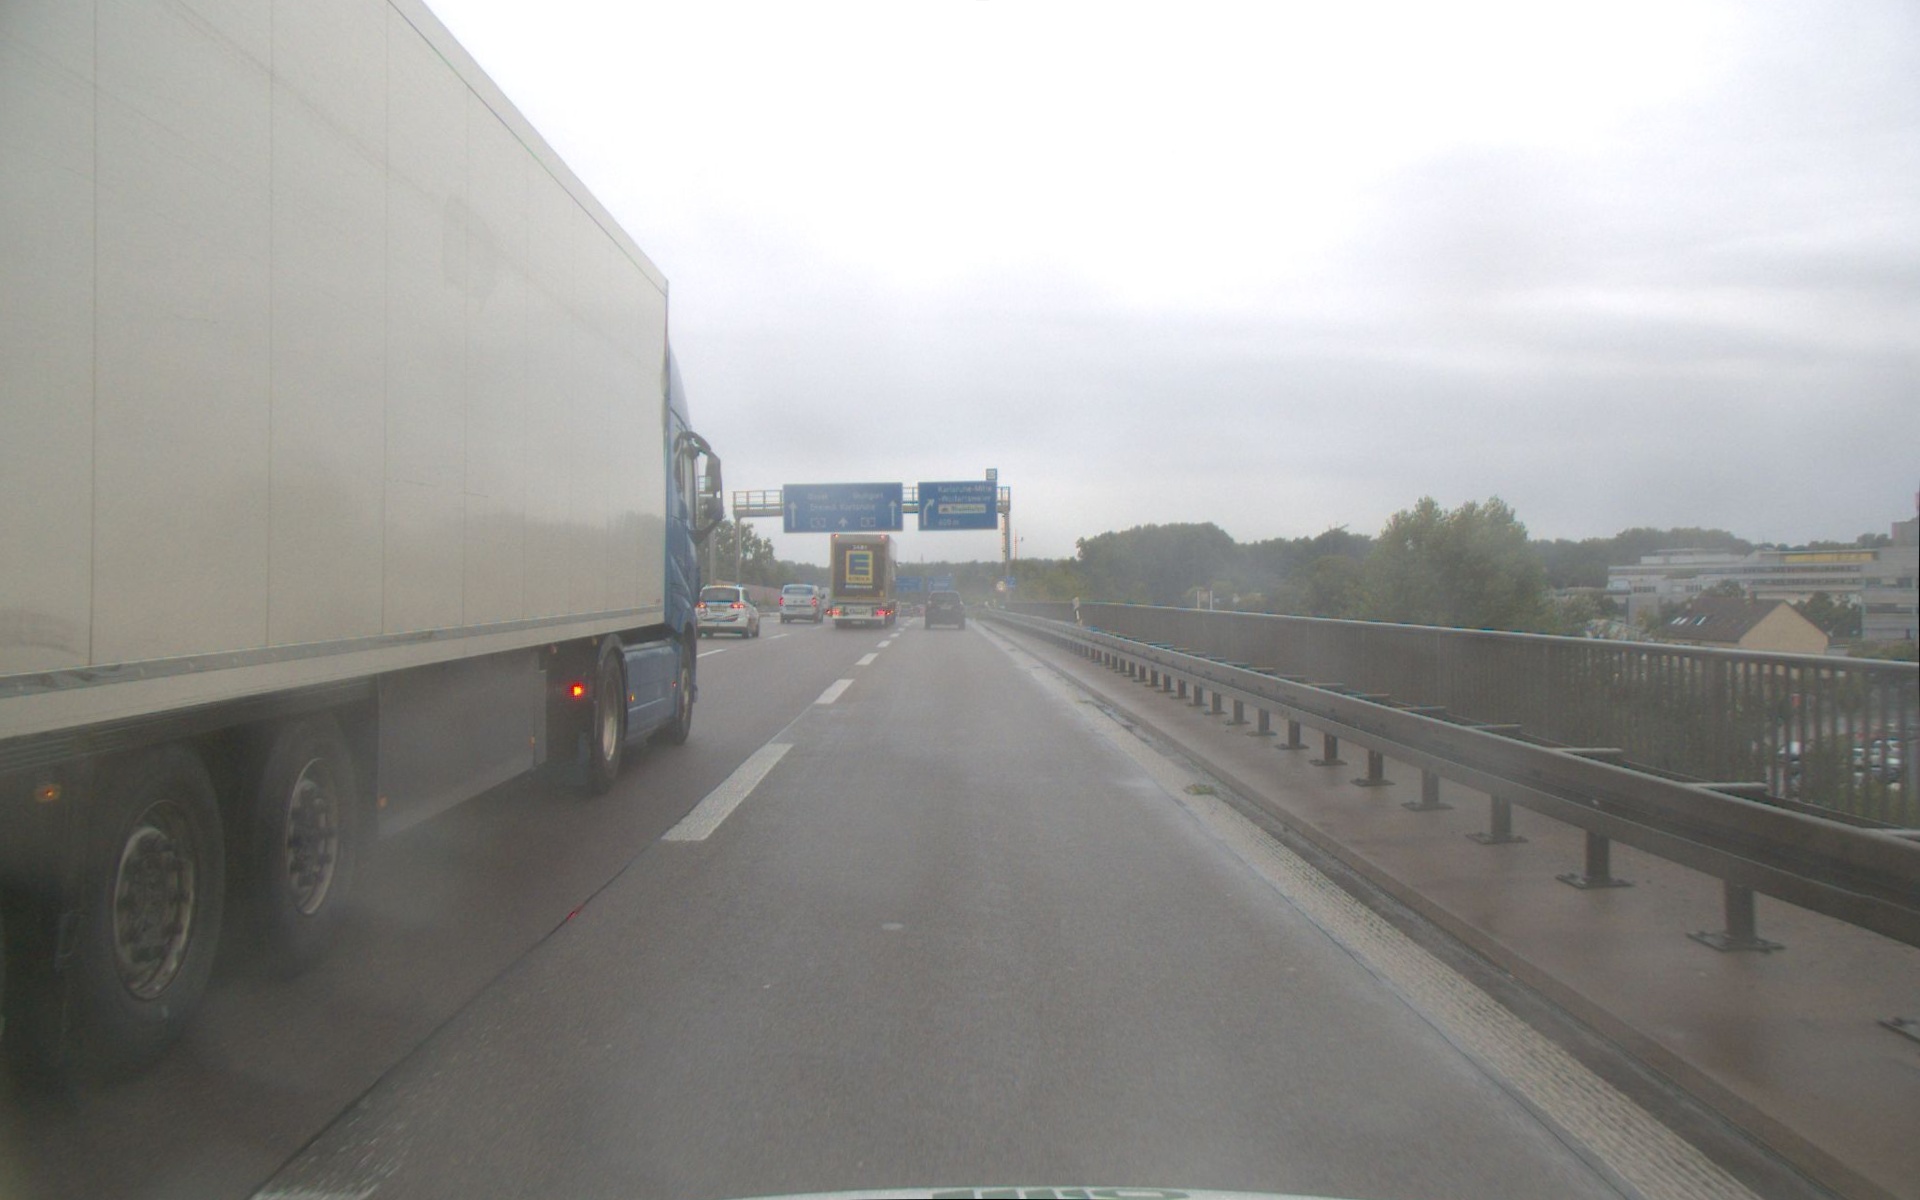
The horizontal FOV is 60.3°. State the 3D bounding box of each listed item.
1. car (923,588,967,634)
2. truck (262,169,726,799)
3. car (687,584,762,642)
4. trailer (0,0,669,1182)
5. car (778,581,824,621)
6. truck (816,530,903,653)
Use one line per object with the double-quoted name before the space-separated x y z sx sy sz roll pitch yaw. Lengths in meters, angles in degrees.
"car" -0.632 0.515 74.151 1.858 1.983 4.000 1 -1 0
"truck" -3.585 -0.790 14.309 2.295 4.230 6.345 0 0 -1
"car" -7.572 0.430 53.505 1.855 1.754 3.999 1 -1 -1
"trailer" -3.453 -0.747 6.257 2.295 4.230 14.824 0 0 -1
"car" -8.161 0.069 85.284 2.007 1.983 3.999 1 -1 -1
"truck" -4.536 -0.306 76.486 3.462 5.274 9.890 1 -1 -1
